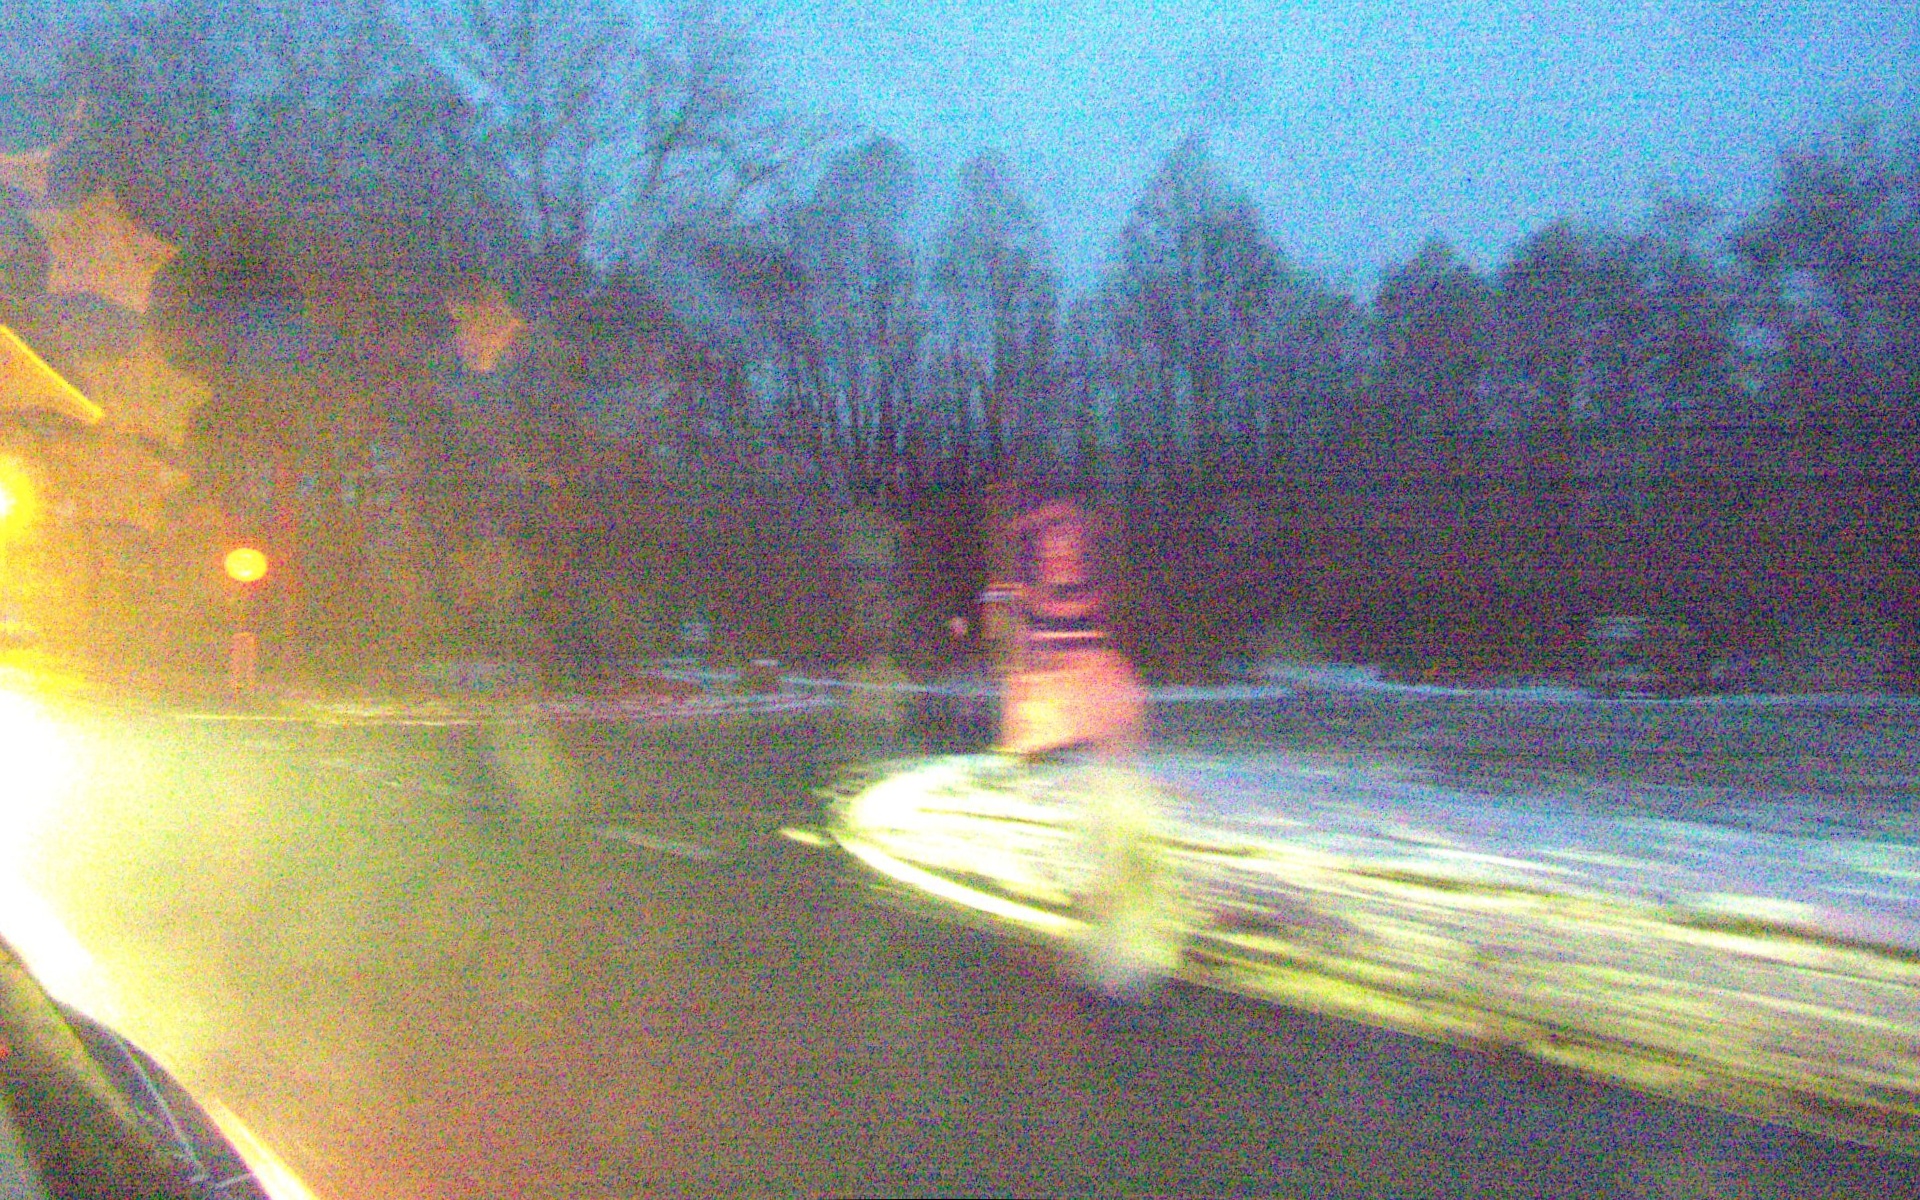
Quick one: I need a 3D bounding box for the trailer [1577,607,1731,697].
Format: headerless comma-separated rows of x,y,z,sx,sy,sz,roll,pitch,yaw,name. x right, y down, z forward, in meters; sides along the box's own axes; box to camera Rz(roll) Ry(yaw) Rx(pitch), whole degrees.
18.450,1.395,26.887,3.745,2.235,1.980,3,-2,-31,trailer
